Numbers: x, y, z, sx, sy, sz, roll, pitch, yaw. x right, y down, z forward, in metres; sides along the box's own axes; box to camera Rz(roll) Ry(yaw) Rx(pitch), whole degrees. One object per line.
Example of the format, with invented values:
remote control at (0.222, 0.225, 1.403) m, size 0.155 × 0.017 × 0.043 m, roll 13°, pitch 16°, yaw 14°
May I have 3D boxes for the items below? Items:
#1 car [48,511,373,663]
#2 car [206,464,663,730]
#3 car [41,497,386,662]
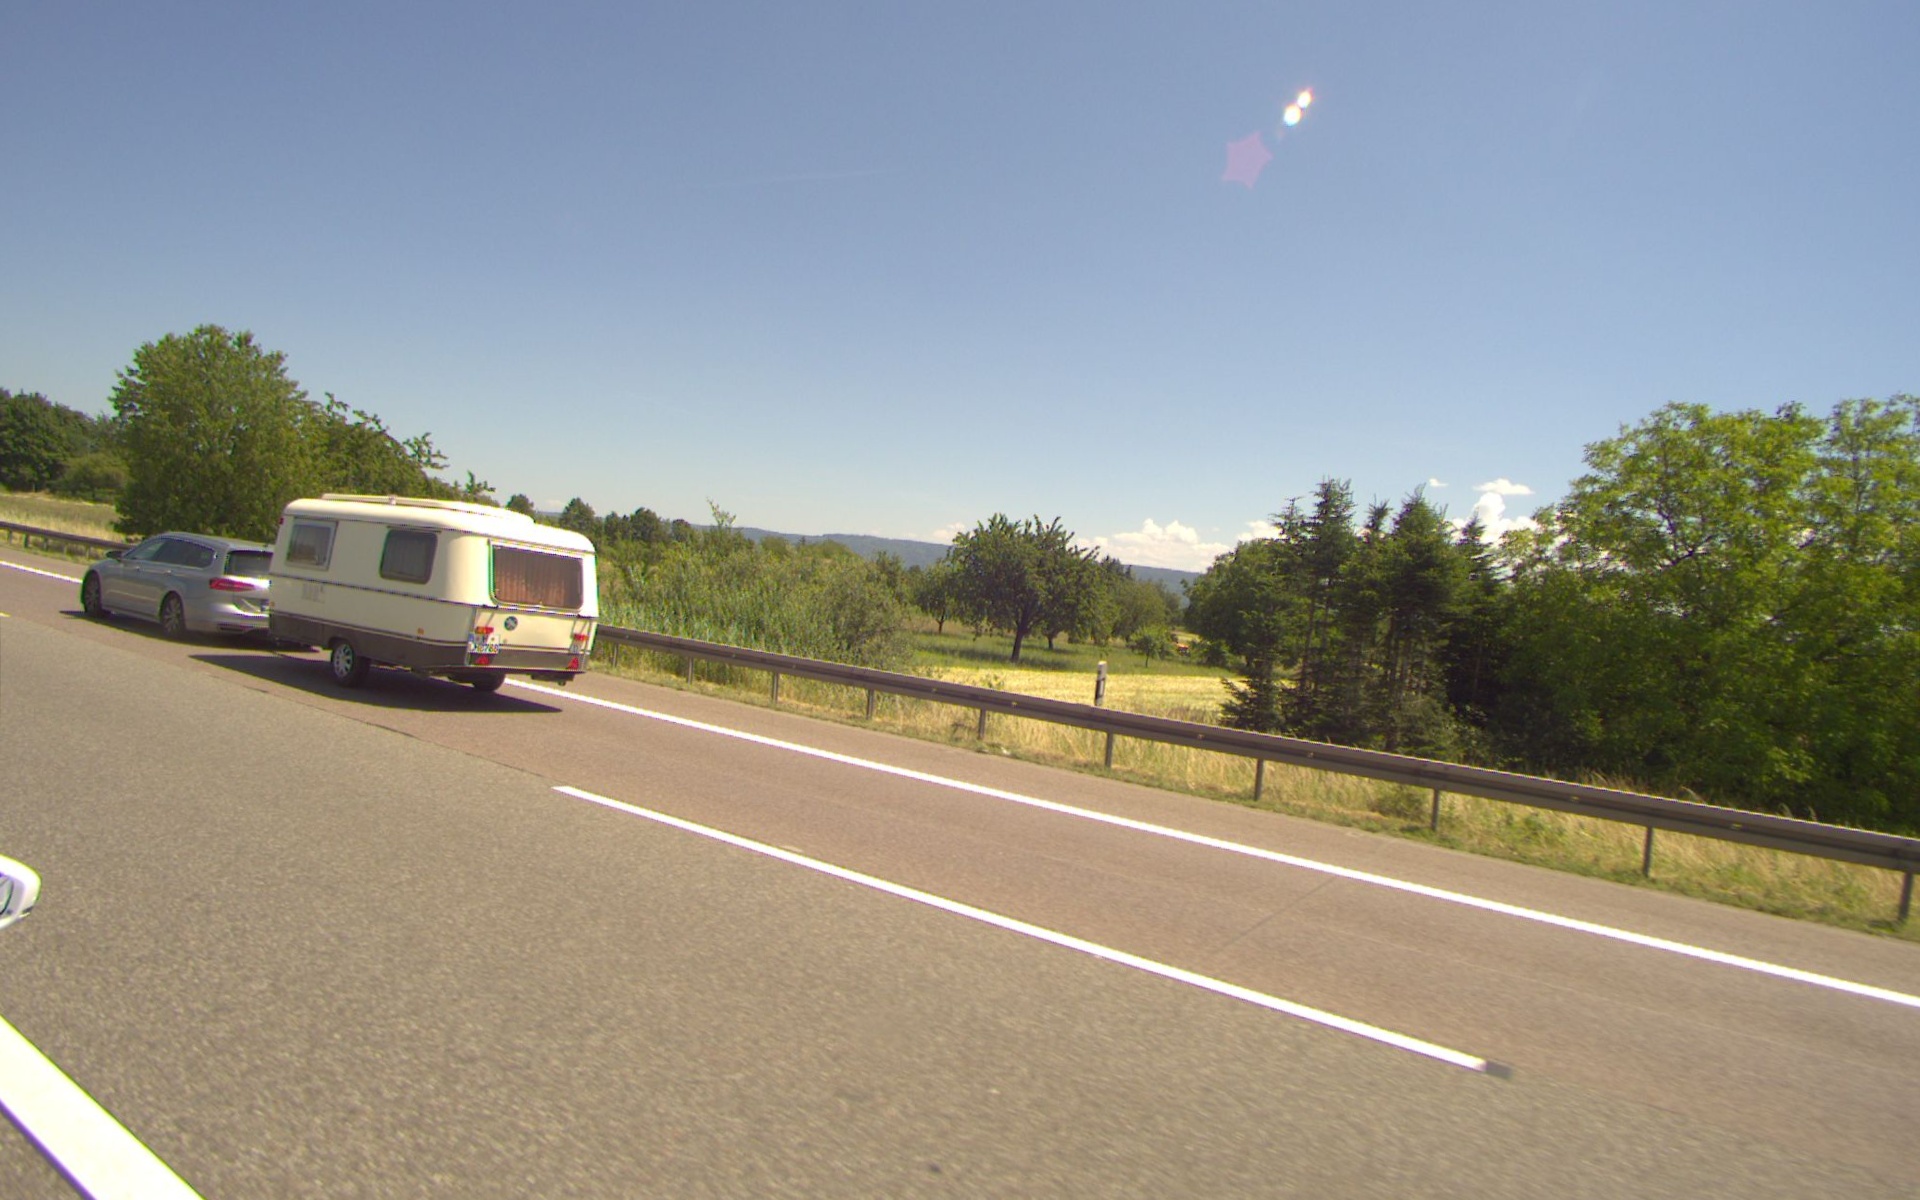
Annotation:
car at (-11.224, -0.241, 14.953) m, size 5.290 × 1.532 × 1.891 m, roll 7°, pitch -2°, yaw 31°
car at (-6.466, -0.127, 12.209) m, size 5.233 × 2.351 × 2.445 m, roll 8°, pitch 1°, yaw 32°
car at (-11.237, -0.341, 15.031) m, size 5.416 × 1.678 × 2.048 m, roll 8°, pitch 0°, yaw 30°
